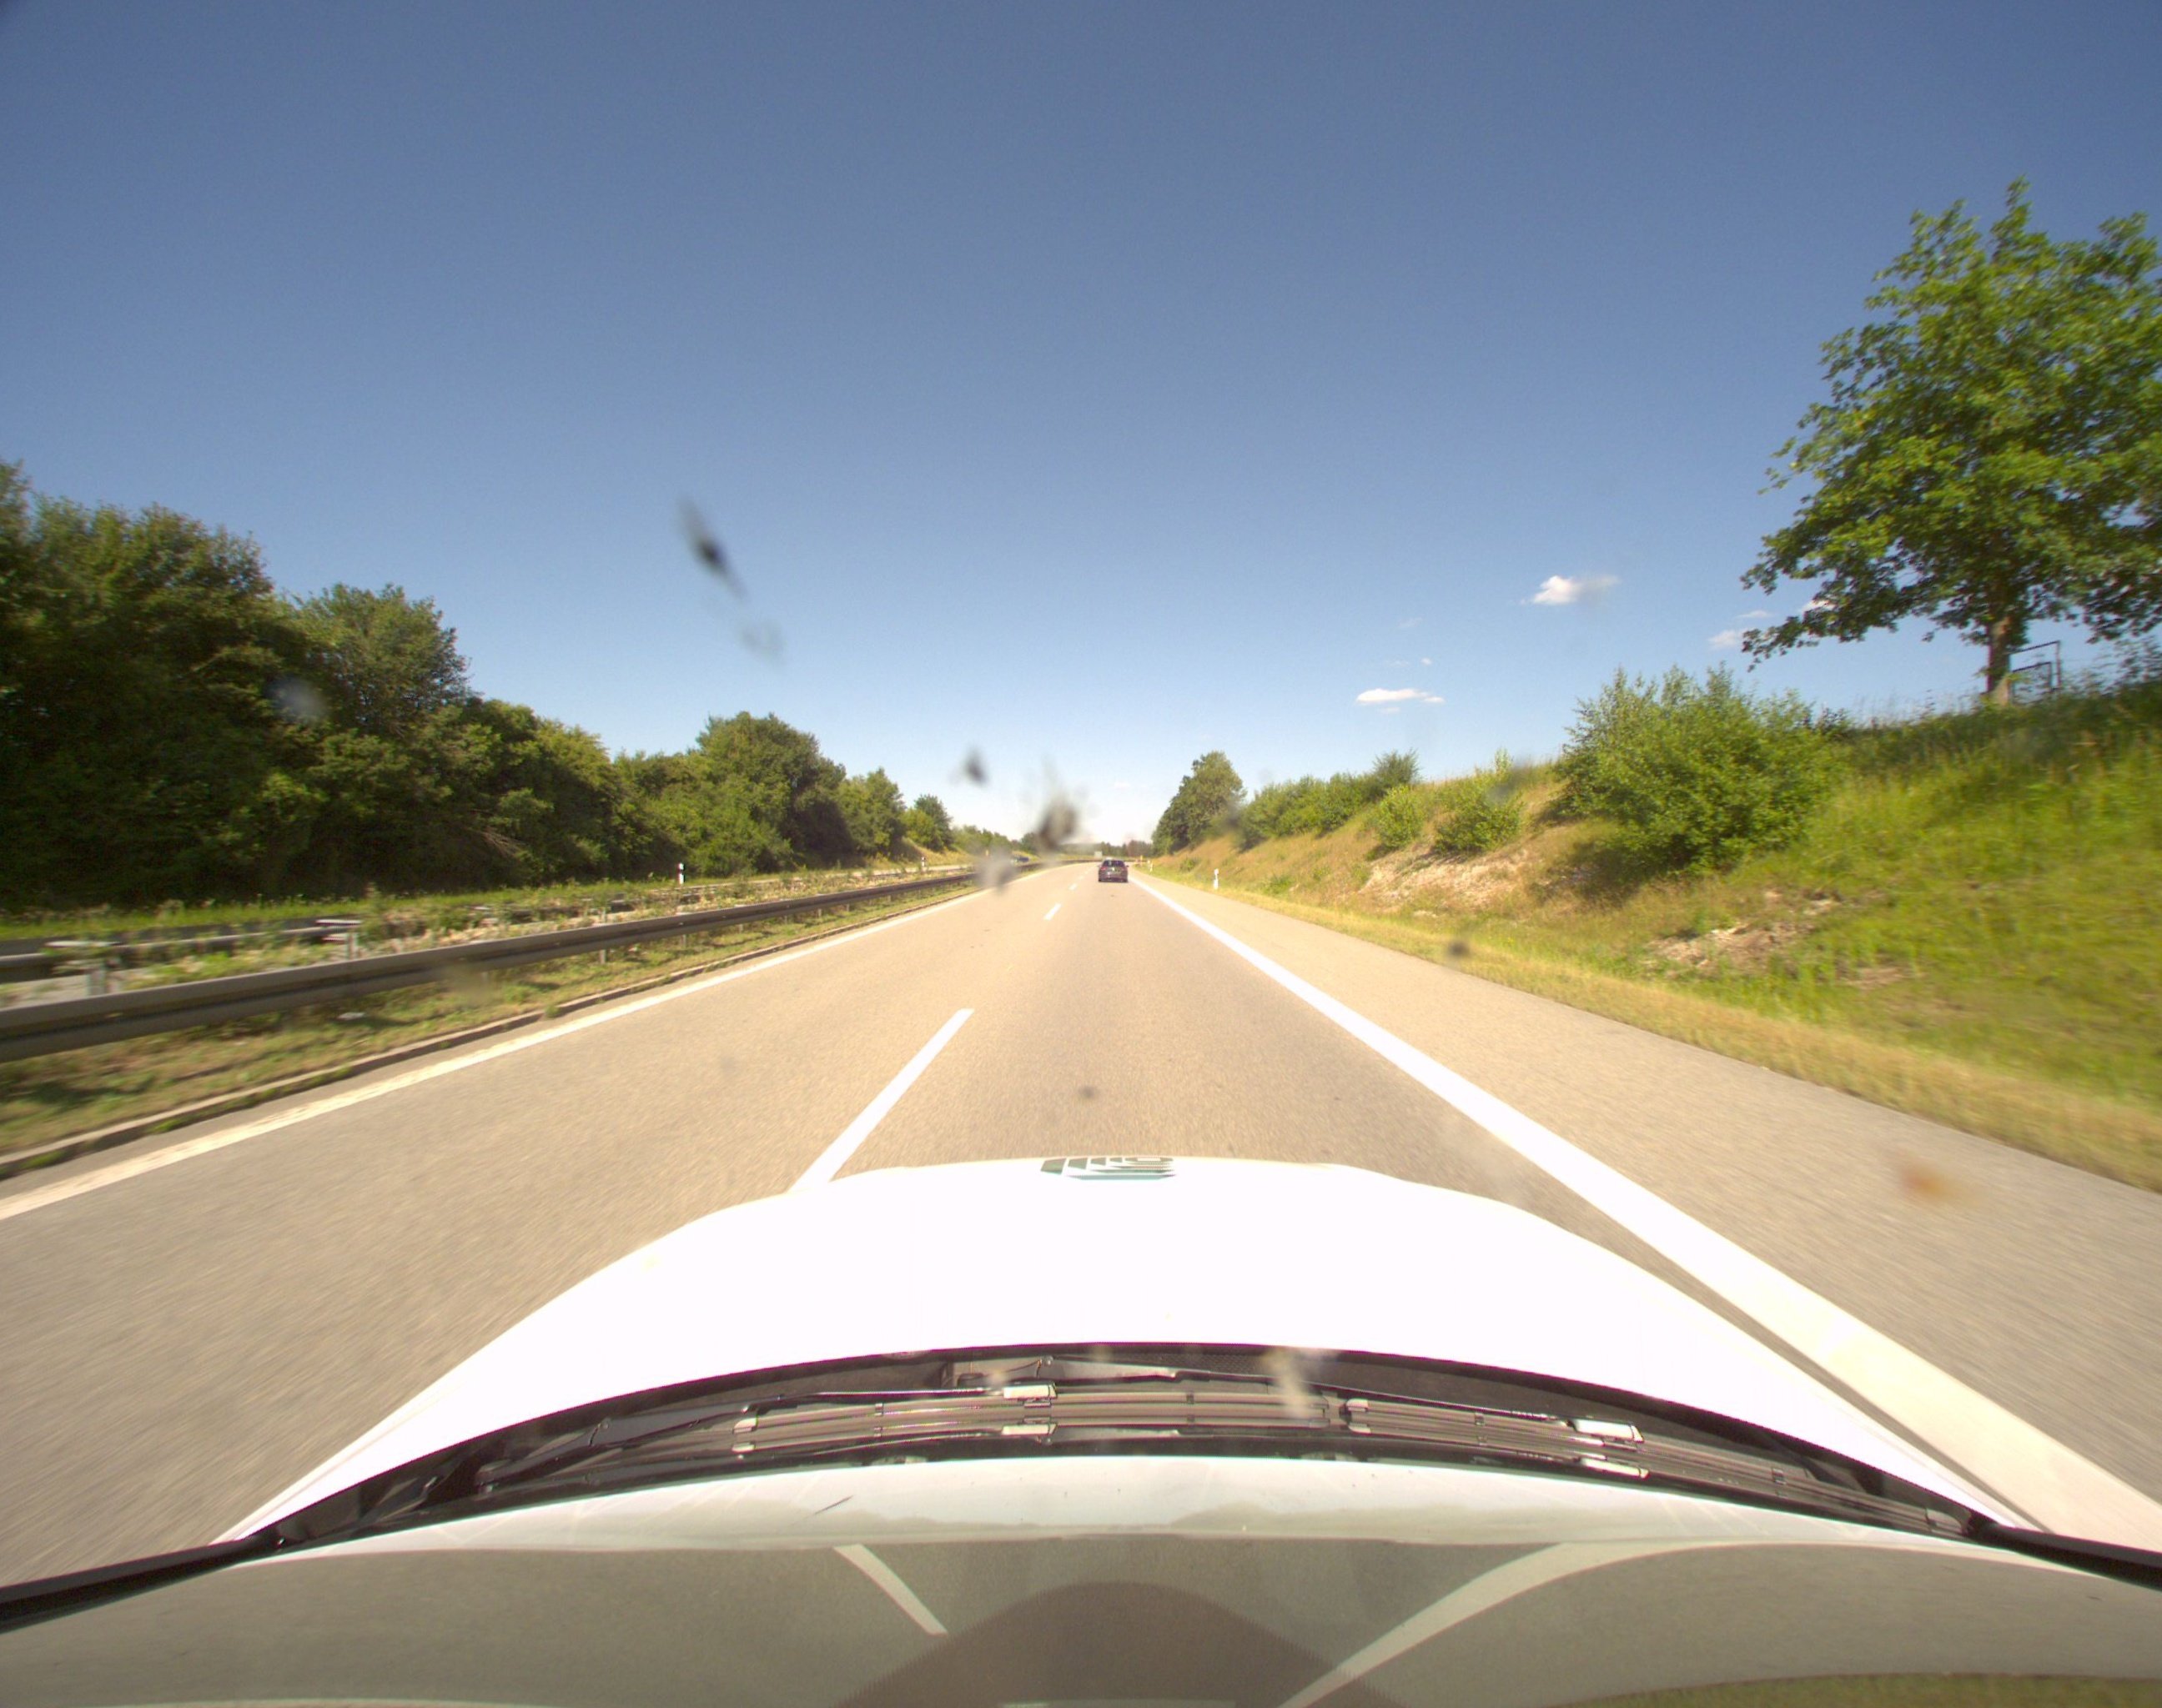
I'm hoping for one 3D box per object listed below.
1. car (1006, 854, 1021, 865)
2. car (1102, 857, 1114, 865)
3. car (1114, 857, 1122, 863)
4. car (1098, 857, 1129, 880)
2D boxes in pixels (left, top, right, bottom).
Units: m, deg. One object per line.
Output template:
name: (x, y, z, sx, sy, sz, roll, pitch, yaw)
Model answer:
car: (-10.618, 0.885, 128.631, 1.761, 1.584, 4.793, 2, 0, 1)
car: (4.938, 1.246, 147.634, 2.000, 1.344, 3.999, 5, -1, 0)
car: (8.852, 1.408, 195.411, 1.704, 1.387, 3.356, 4, -1, 2)
car: (1.998, 0.855, 49.943, 1.784, 1.344, 4.002, 0, 0, 2)
